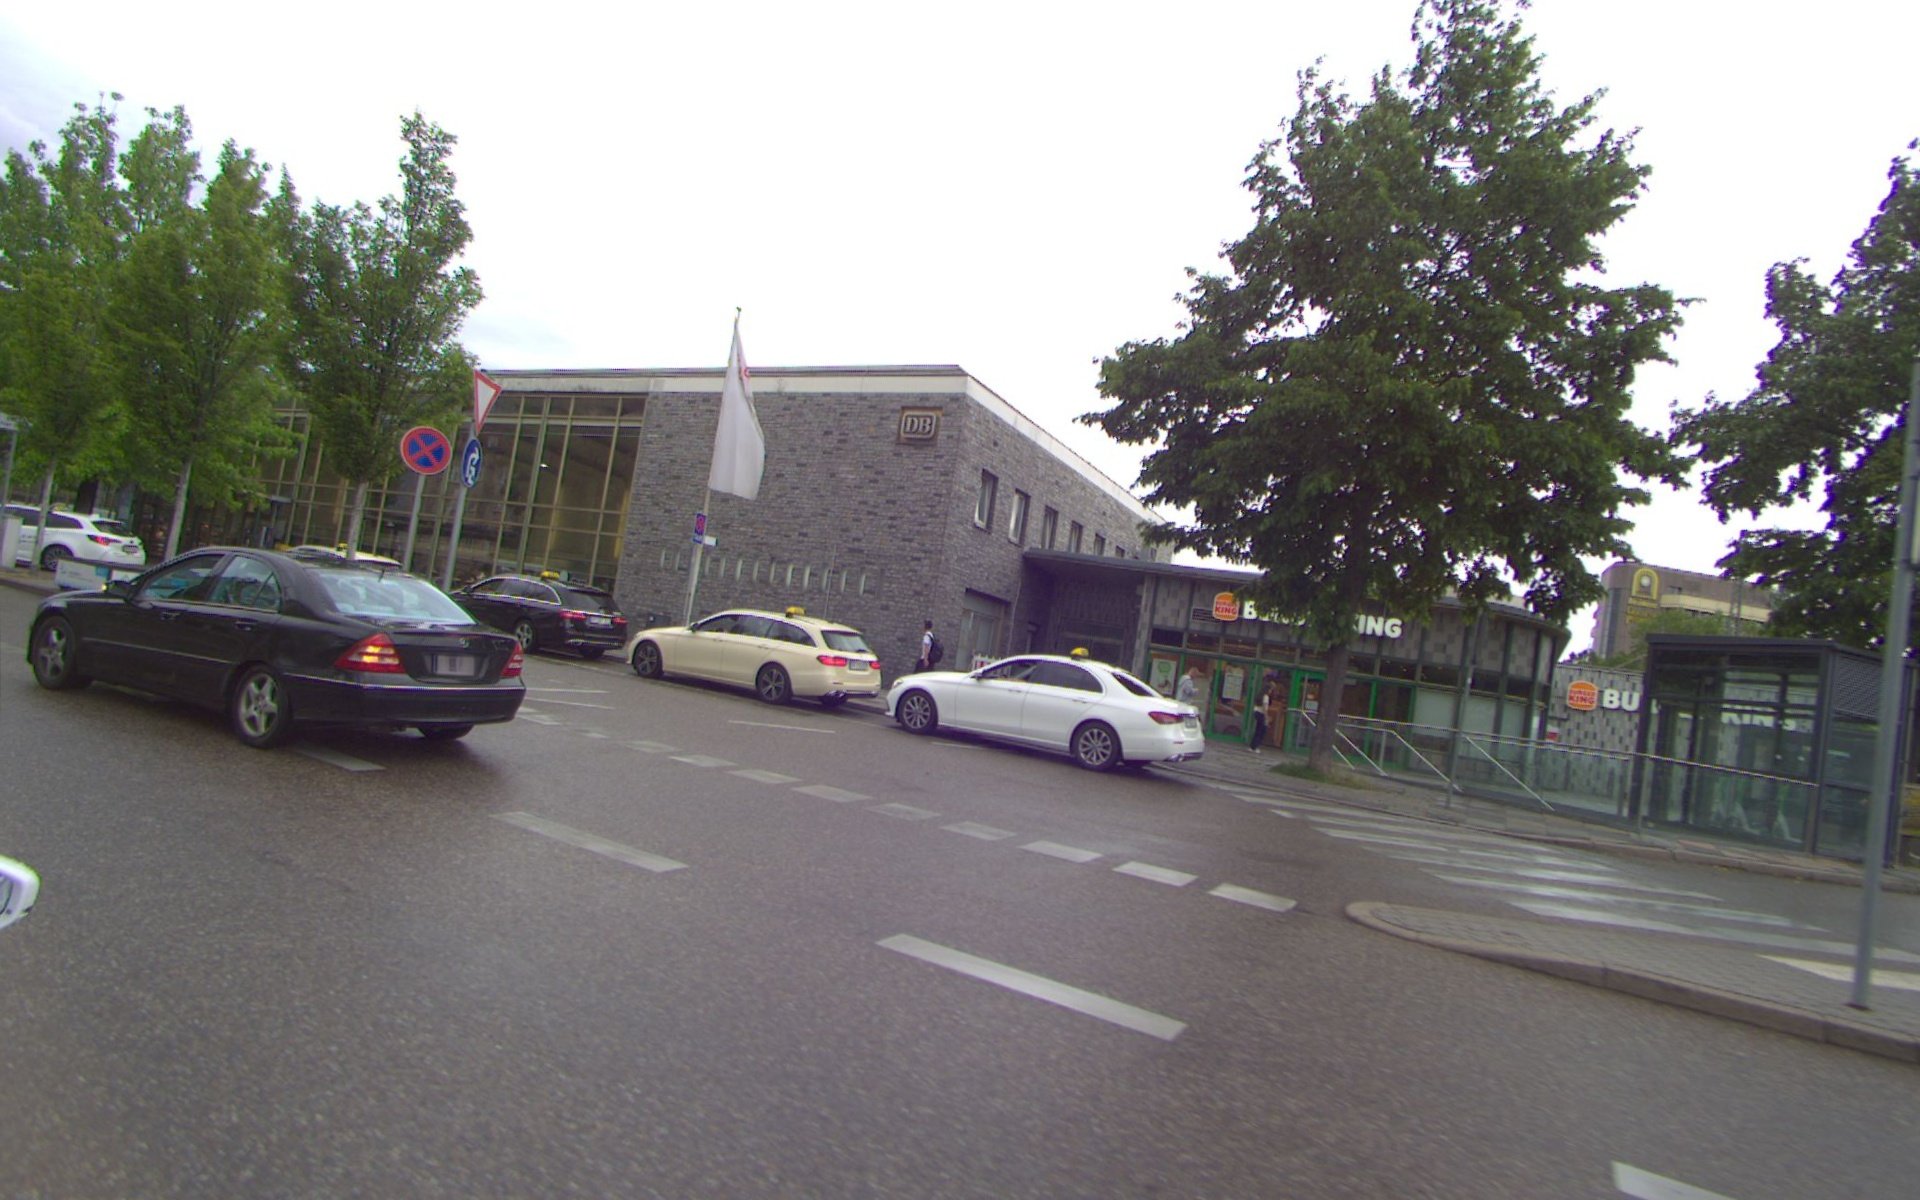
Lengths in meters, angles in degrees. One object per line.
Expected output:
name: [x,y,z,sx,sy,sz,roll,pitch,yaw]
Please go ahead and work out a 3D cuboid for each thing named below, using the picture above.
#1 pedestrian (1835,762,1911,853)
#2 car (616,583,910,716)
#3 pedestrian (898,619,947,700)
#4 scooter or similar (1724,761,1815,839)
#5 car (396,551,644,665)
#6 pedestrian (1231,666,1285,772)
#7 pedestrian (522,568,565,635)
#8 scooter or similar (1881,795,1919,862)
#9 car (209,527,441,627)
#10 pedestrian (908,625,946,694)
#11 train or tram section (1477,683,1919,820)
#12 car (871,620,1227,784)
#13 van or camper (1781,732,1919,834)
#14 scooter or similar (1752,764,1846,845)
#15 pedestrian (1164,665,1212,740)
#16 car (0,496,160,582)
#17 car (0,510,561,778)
pedestrian: [18.826,4.265,20.756,0.713,1.687,0.793,7,0,-22]
car: [-3.538,0.836,17.804,4.874,1.618,1.998,7,-1,30]
pedestrian: [-0.837,1.329,22.574,0.762,1.686,0.647,8,-1,8]
scooter or similar: [14.554,3.590,18.095,1.281,1.196,0.333,7,0,-4]
car: [-9.168,0.148,20.866,4.873,1.617,2.000,7,-3,29]
pedestrian: [6.623,2.627,22.385,0.709,2.190,0.797,7,0,-1]
pedestrian: [-11.031,0.039,26.685,0.785,1.646,0.721,7,0,-15]
scooter or similar: [18.830,4.518,19.670,1.281,1.196,0.333,7,0,-4]
car: [-14.825,-0.539,23.491,4.867,1.618,2.000,7,-1,22]
pedestrian: [-0.761,1.368,23.324,0.709,1.494,0.797,7,0,-1]
train or tram section: [45.316,8.759,56.174,28.809,4.231,4.601,7,-1,30]
car: [1.256,1.423,15.017,4.820,1.618,1.884,7,-1,30]
van or camper: [28.639,5.724,31.976,2.126,2.462,5.865,7,-1,23]
scooter or similar: [14.582,3.551,17.494,1.281,1.196,0.333,7,0,-4]
pedestrian: [5.227,2.345,23.128,0.698,1.599,0.770,7,0,-6]
car: [-22.102,-1.573,23.689,4.698,1.563,1.762,8,-2,-10]
car: [-5.685,0.280,8.351,4.371,1.483,1.700,7,-1,23]
